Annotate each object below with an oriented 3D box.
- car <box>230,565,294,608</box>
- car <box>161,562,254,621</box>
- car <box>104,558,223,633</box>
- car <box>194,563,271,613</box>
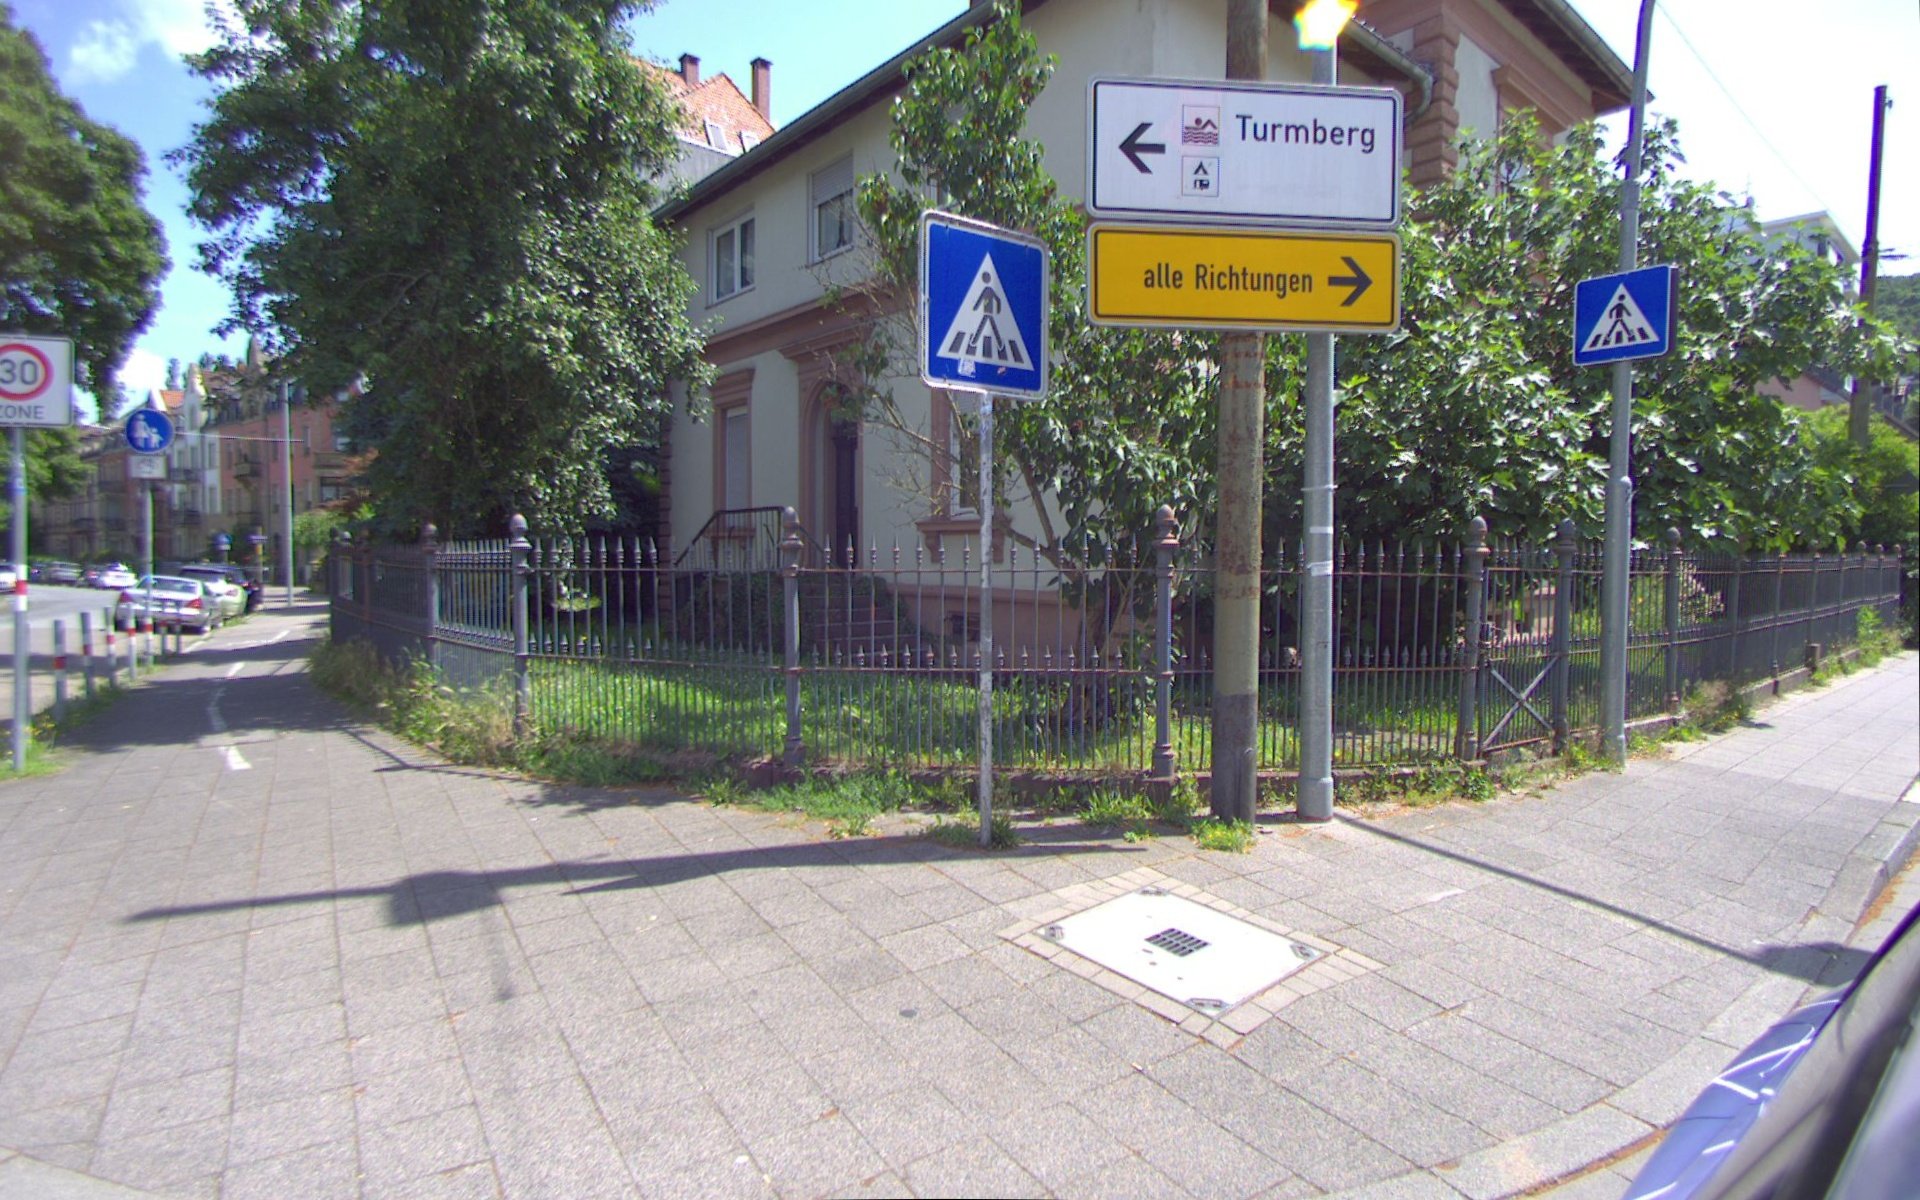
[{"bbox_3d":[-26.010,-0.492,37.803,1.575,1.458,3.734,-3,2,-29],"label":"car"},{"bbox_3d":[-20.924,-0.250,28.257,1.575,1.458,3.734,-3,2,-29],"label":"car"},{"bbox_3d":[-18.618,-0.092,23.811,1.574,1.572,3.734,3,-1,-30],"label":"car"},{"bbox_3d":[-23.392,-0.400,32.651,1.575,1.458,3.734,-3,2,-29],"label":"car"}]
